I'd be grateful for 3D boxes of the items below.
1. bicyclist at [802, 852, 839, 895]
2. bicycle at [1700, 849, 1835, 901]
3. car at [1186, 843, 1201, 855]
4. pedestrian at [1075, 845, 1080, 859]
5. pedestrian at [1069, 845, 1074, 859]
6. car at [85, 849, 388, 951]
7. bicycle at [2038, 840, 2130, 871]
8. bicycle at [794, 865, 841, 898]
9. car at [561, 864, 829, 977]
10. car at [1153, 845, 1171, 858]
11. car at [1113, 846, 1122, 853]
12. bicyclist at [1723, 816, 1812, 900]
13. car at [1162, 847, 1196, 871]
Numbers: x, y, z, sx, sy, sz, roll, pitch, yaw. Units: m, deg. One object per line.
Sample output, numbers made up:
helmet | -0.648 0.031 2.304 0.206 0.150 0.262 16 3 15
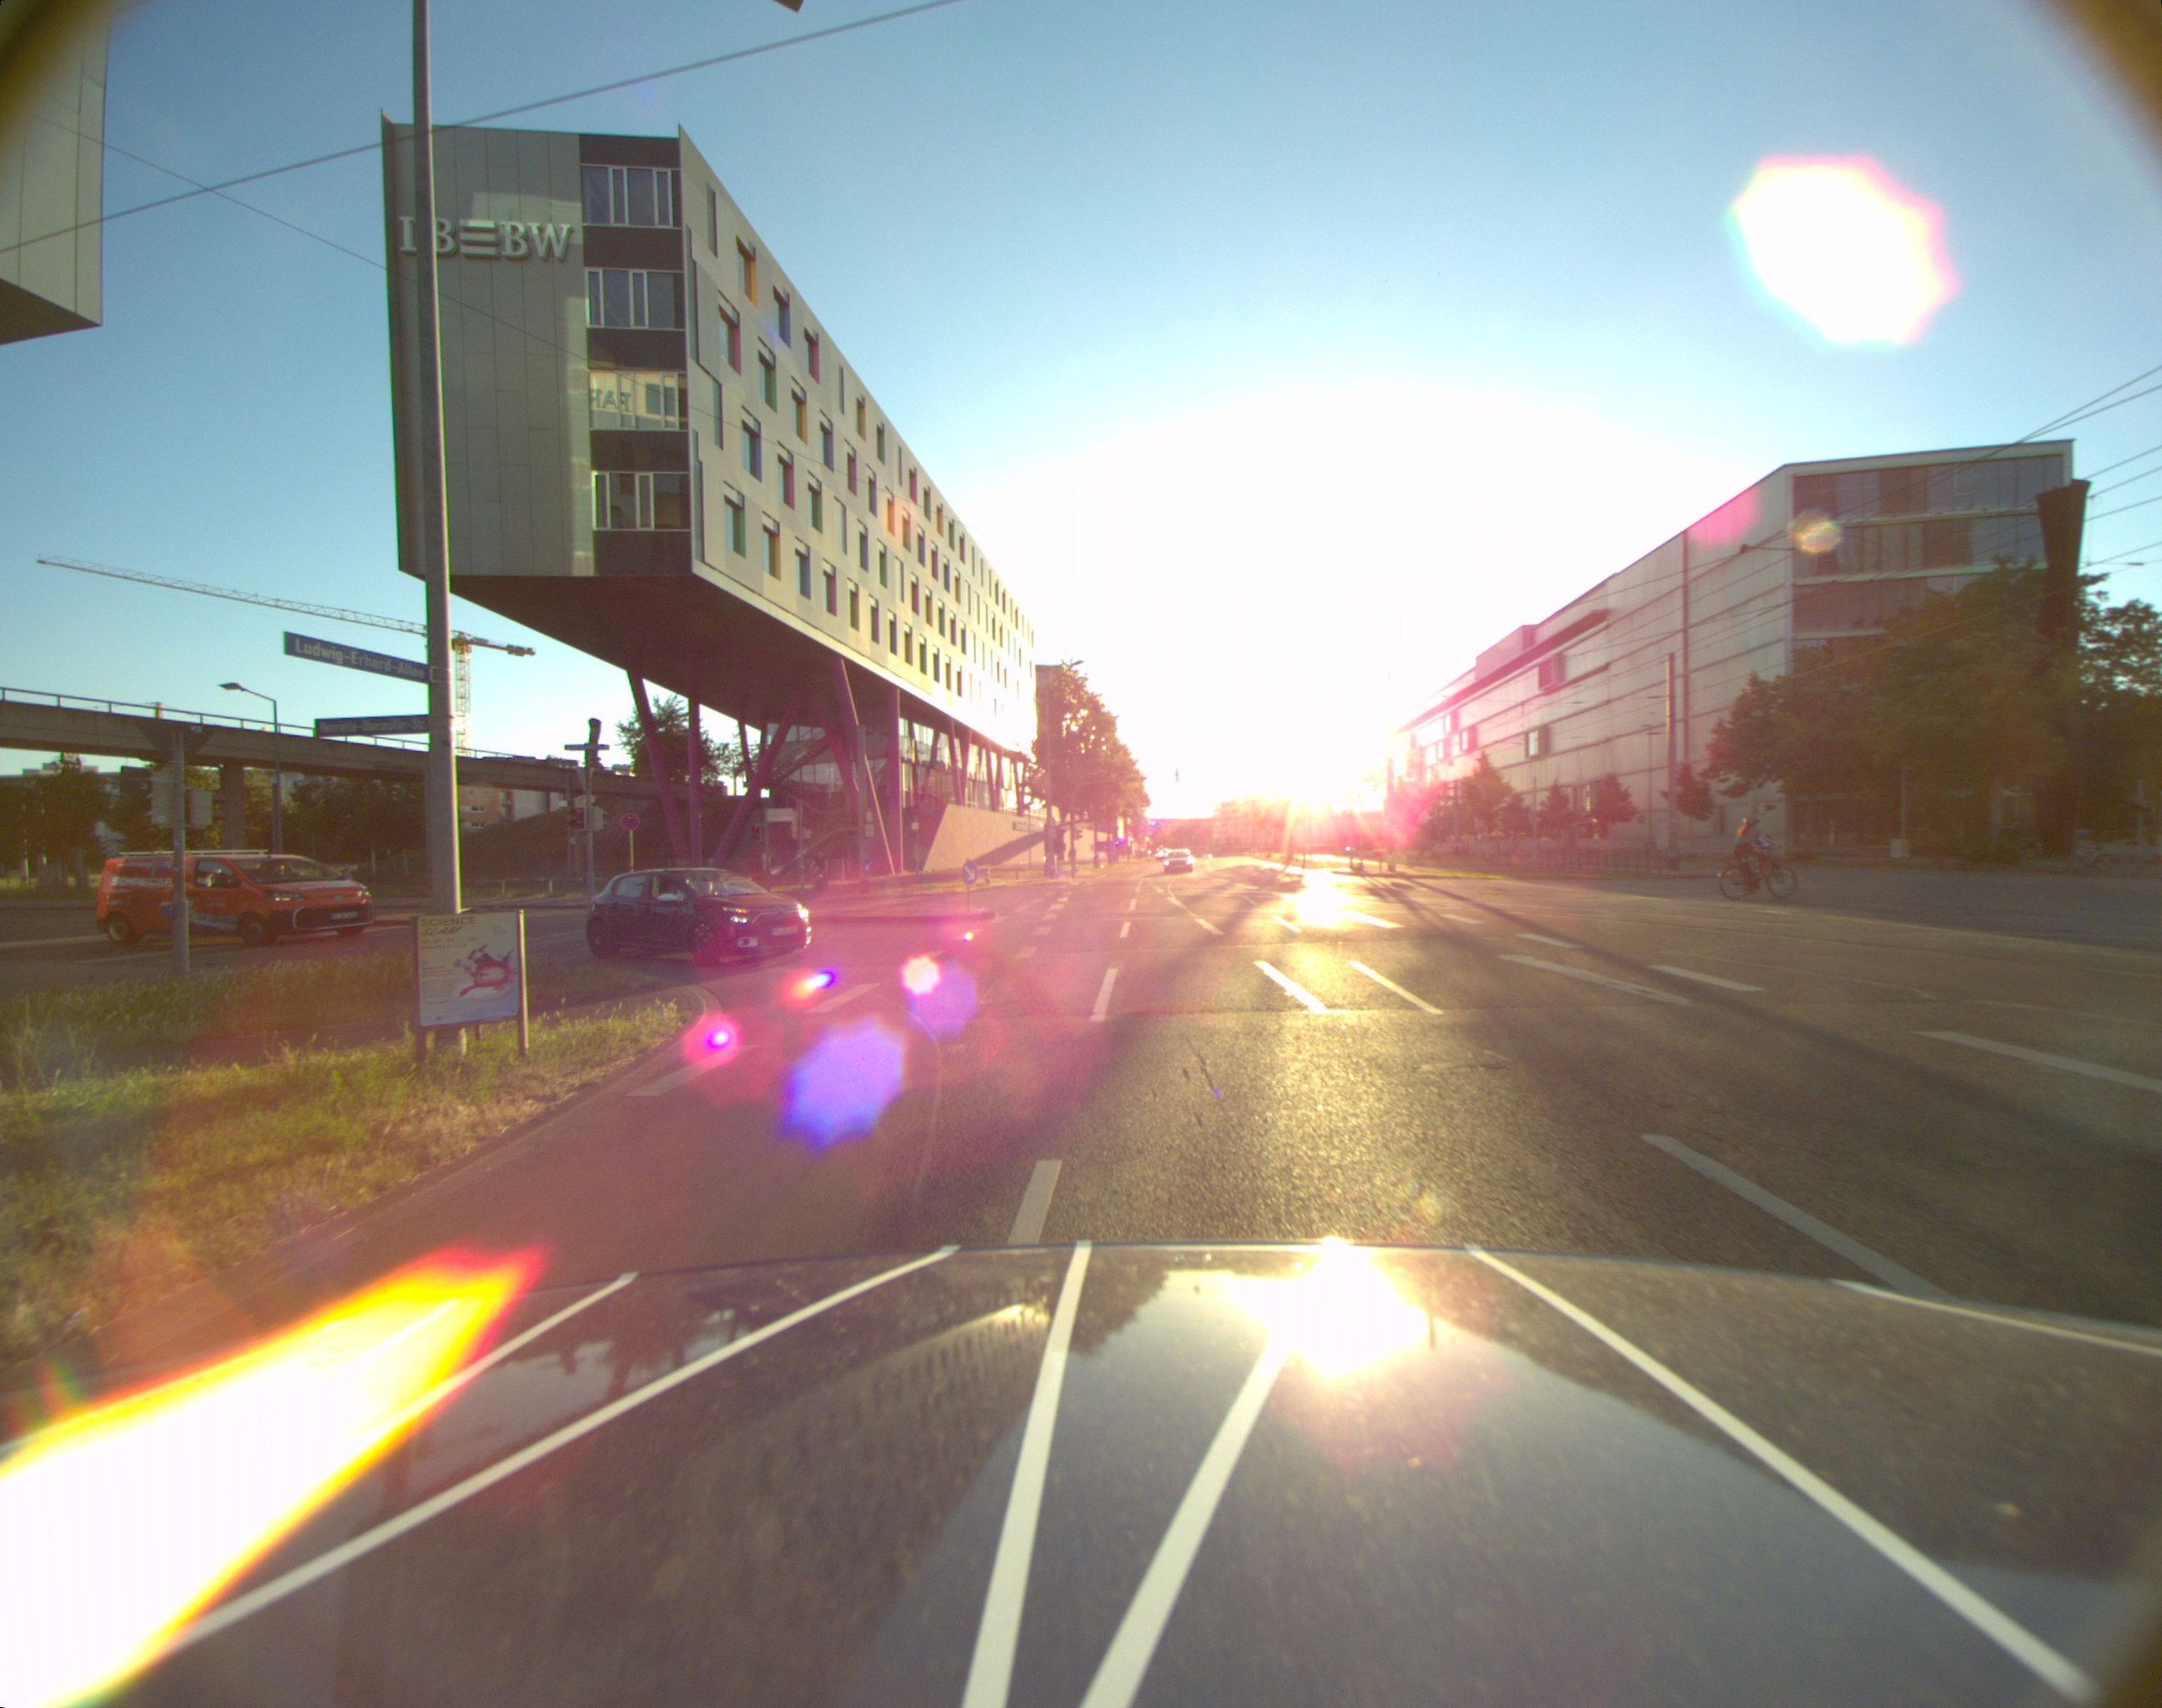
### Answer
bicyclist | -10.281 0.753 30.000 0.806 1.624 1.289 -1 1 11
bicycle | 14.487 0.433 16.085 2.119 1.062 0.637 -1 1 10
car | 16.381 -0.796 110.601 1.997 1.696 4.001 -1 1 7
pedestrian | -0.459 -0.299 106.402 0.618 2.002 0.812 0 1 8
pedestrian | -1.301 -0.300 106.561 0.618 2.002 0.812 0 1 8
car | -17.994 0.941 16.304 4.815 1.980 1.933 -1 2 8
bicycle | 39.365 0.058 29.850 2.389 1.129 0.701 -1 1 7
bicycle | -10.308 1.065 29.817 0.742 1.200 2.112 -1 1 11
car | -6.312 0.970 12.407 4.061 1.543 1.764 -1 1 26
car | 9.257 -0.326 86.501 1.997 1.412 4.001 -1 1 7
car | 8.186 -0.923 169.614 1.717 1.490 4.002 -1 1 9
bicyclist | 14.466 0.086 16.060 0.994 1.708 1.035 -1 1 10
car | 6.280 0.260 48.360 1.997 1.412 4.002 -1 1 9
